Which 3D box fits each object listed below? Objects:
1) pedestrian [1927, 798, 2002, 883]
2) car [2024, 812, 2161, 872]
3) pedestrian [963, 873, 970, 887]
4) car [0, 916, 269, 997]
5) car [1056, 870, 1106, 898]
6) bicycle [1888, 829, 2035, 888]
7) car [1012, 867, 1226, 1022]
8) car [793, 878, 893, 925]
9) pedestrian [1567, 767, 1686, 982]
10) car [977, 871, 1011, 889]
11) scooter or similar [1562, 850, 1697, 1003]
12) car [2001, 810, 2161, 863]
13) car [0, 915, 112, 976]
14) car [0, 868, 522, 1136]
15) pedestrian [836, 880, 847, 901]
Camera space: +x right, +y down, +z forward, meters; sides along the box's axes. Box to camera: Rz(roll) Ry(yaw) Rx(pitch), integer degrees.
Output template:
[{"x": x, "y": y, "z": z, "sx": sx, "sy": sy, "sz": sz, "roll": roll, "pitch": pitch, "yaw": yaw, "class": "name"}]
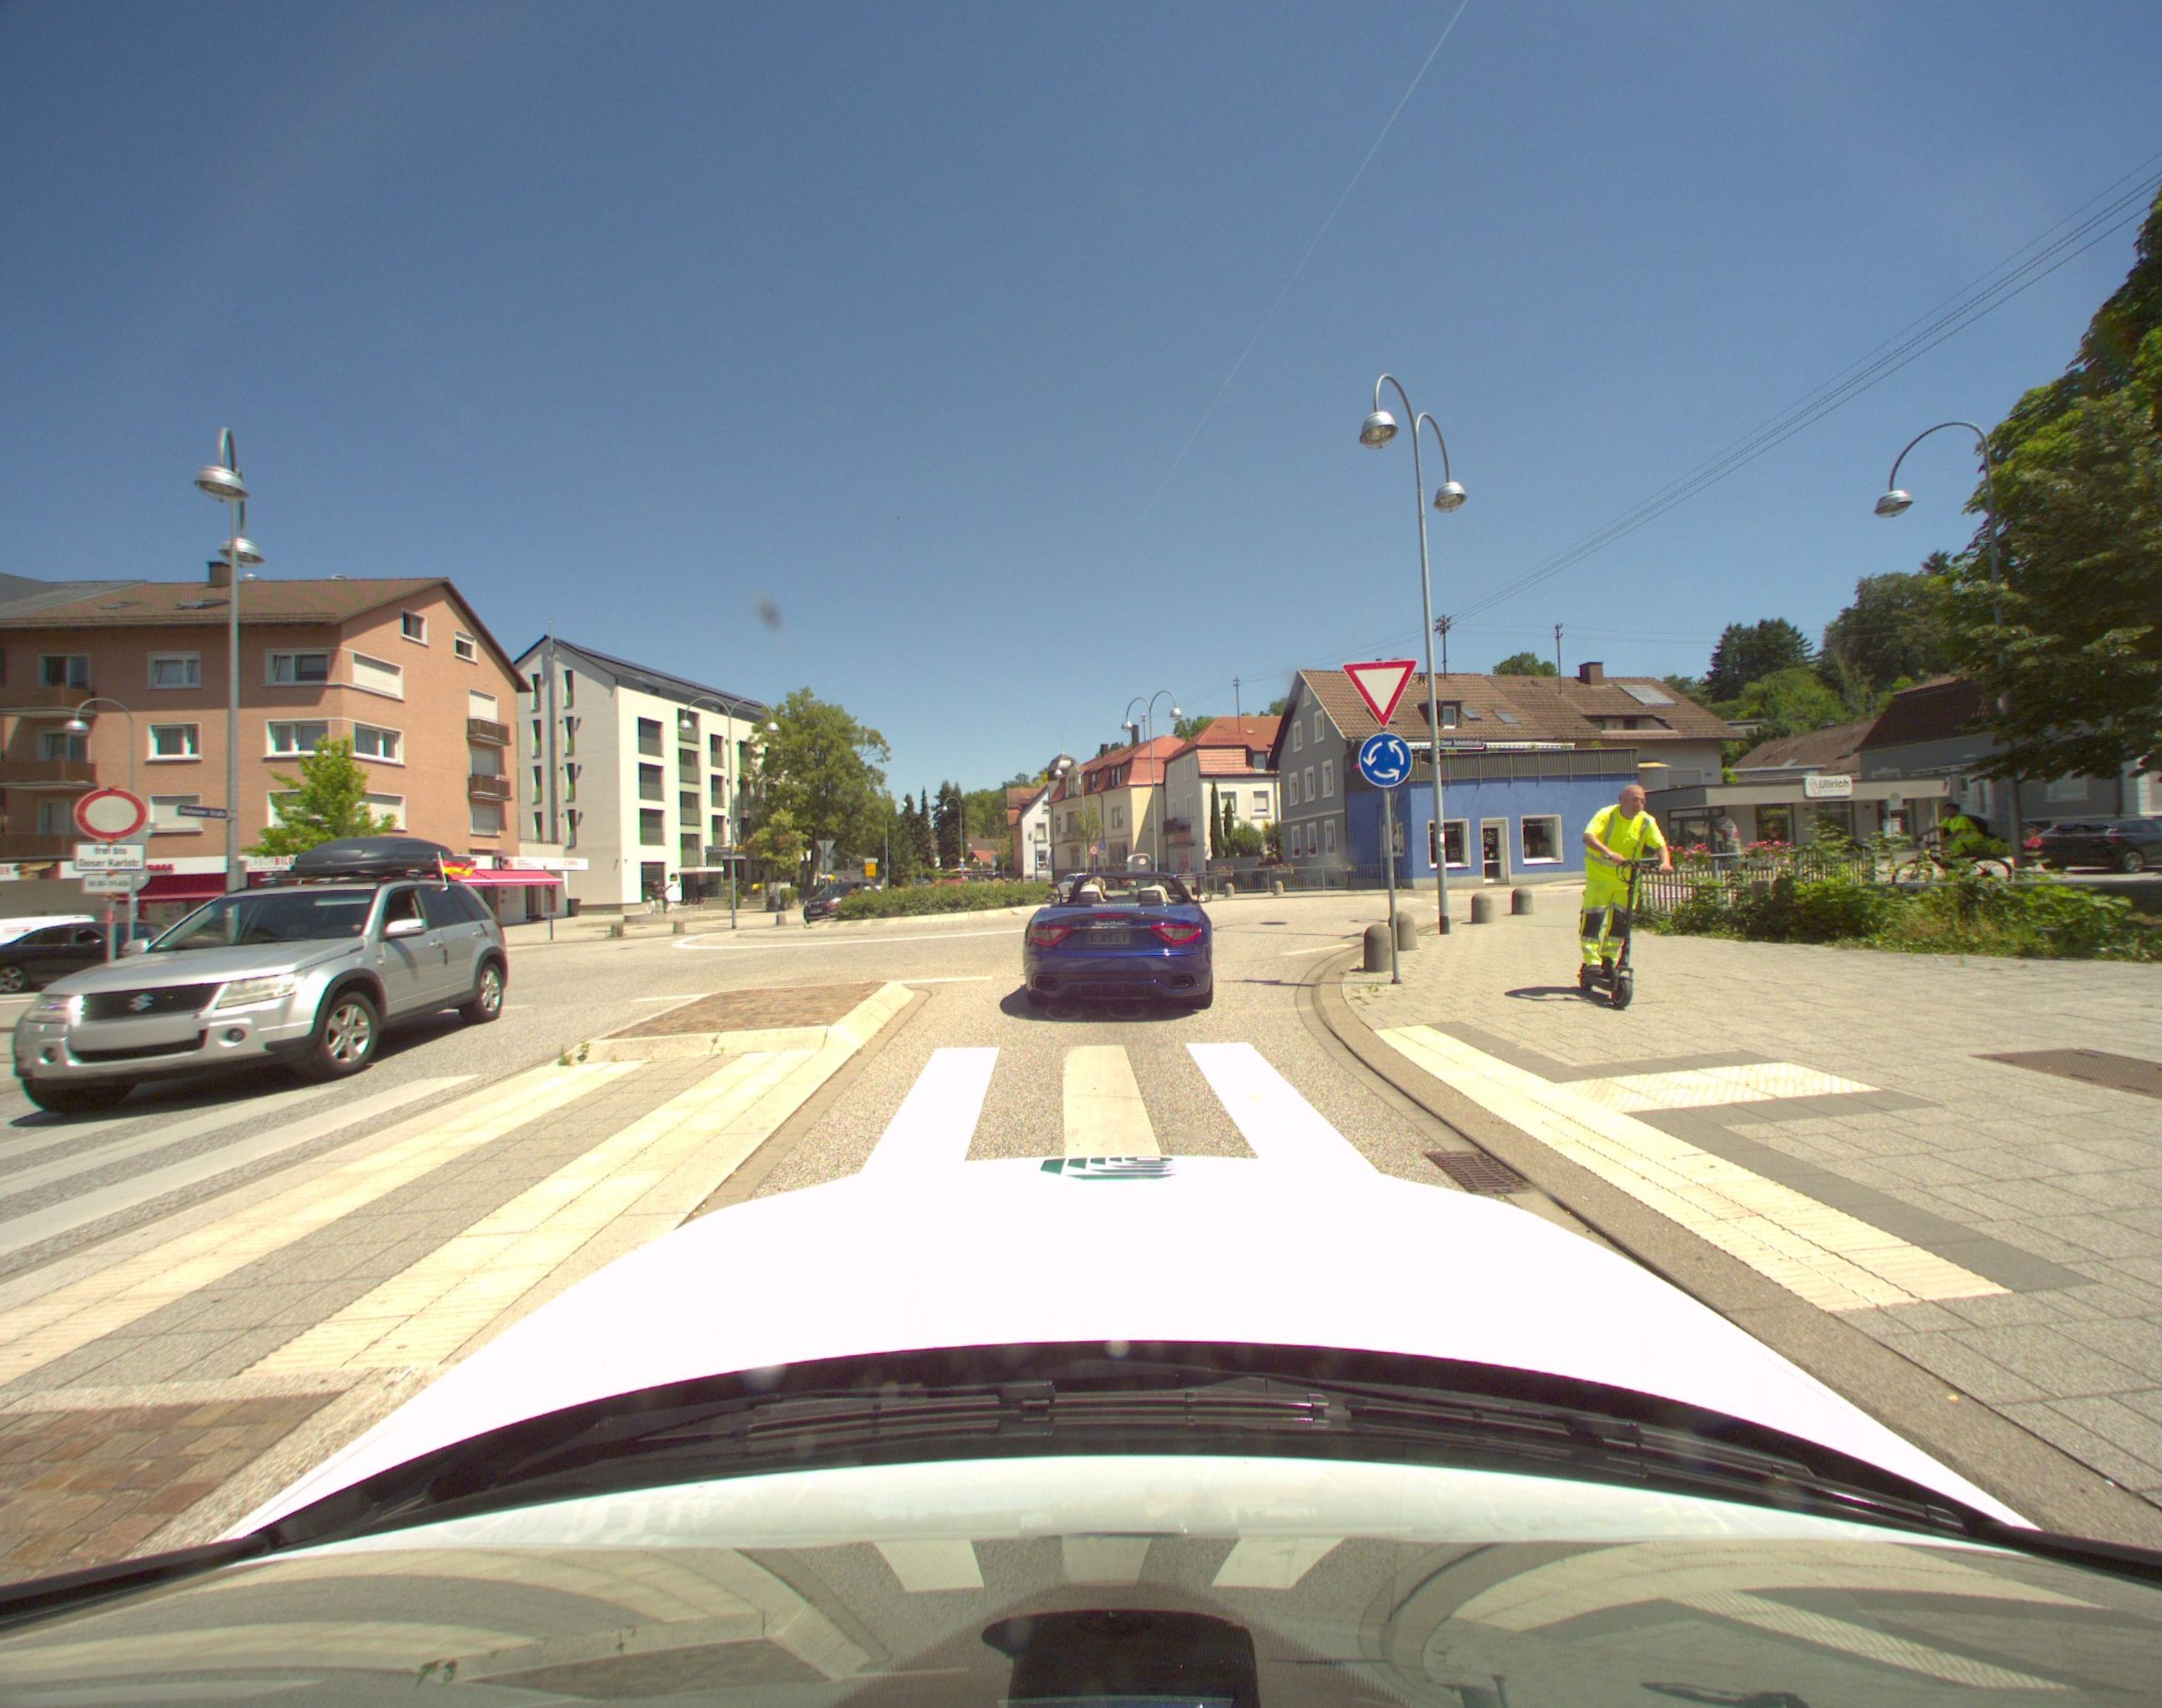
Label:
[{"x": 17.800, "y": -0.267, "z": 16.424, "sx": 0.709, "sy": 1.632, "sz": 0.751, "roll": -3, "pitch": -1, "yaw": 24, "class": "pedestrian"}, {"x": 29.952, "y": -0.373, "z": 23.270, "sx": 4.242, "sy": 1.547, "sz": 1.808, "roll": -3, "pitch": 0, "yaw": -5, "class": "car"}, {"x": -12.851, "y": 2.939, "z": 91.528, "sx": 0.614, "sy": 1.585, "sz": 0.582, "roll": -2, "pitch": -1, "yaw": -25, "class": "pedestrian"}, {"x": -21.665, "y": 2.298, "z": 18.541, "sx": 4.478, "sy": 1.403, "sz": 1.779, "roll": -3, "pitch": 1, "yaw": 0, "class": "car"}, {"x": -0.061, "y": 1.897, "z": 50.978, "sx": 1.924, "sy": 1.613, "sz": 4.122, "roll": -3, "pitch": -2, "yaw": -18, "class": "car"}, {"x": 17.734, "y": 0.099, "z": 16.457, "sx": 1.827, "sy": 1.083, "sz": 0.751, "roll": -3, "pitch": -1, "yaw": 24, "class": "bicycle"}, {"x": 0.464, "y": 0.861, "z": 9.498, "sx": 1.902, "sy": 1.360, "sz": 4.289, "roll": -2, "pitch": -1, "yaw": 3, "class": "car"}, {"x": -9.530, "y": 1.879, "z": 32.957, "sx": 1.783, "sy": 1.642, "sz": 4.078, "roll": -3, "pitch": -2, "yaw": 19, "class": "car"}, {"x": 4.857, "y": 0.184, "z": 7.305, "sx": 0.672, "sy": 1.799, "sz": 0.743, "roll": -4, "pitch": -1, "yaw": 26, "class": "pedestrian"}, {"x": -8.375, "y": 2.538, "z": 78.248, "sx": 1.861, "sy": 1.588, "sz": 3.963, "roll": -3, "pitch": -1, "yaw": -28, "class": "car"}, {"x": 4.812, "y": 0.596, "z": 7.231, "sx": 0.525, "sy": 1.222, "sz": 1.244, "roll": -3, "pitch": -1, "yaw": 13, "class": "scooter or similar"}, {"x": 34.758, "y": -0.578, "z": 28.250, "sx": 3.656, "sy": 1.552, "sz": 1.776, "roll": -3, "pitch": -2, "yaw": -1, "class": "car"}, {"x": -34.674, "y": 3.011, "z": 26.308, "sx": 3.994, "sy": 1.750, "sz": 1.793, "roll": -3, "pitch": -1, "yaw": -15, "class": "car"}, {"x": -7.189, "y": 1.065, "z": 7.711, "sx": 1.836, "sy": 1.688, "sz": 4.177, "roll": -4, "pitch": -1, "yaw": -17, "class": "car"}, {"x": -18.365, "y": 2.763, "z": 62.366, "sx": 0.531, "sy": 1.576, "sz": 0.564, "roll": -3, "pitch": -1, "yaw": 12, "class": "pedestrian"}]
